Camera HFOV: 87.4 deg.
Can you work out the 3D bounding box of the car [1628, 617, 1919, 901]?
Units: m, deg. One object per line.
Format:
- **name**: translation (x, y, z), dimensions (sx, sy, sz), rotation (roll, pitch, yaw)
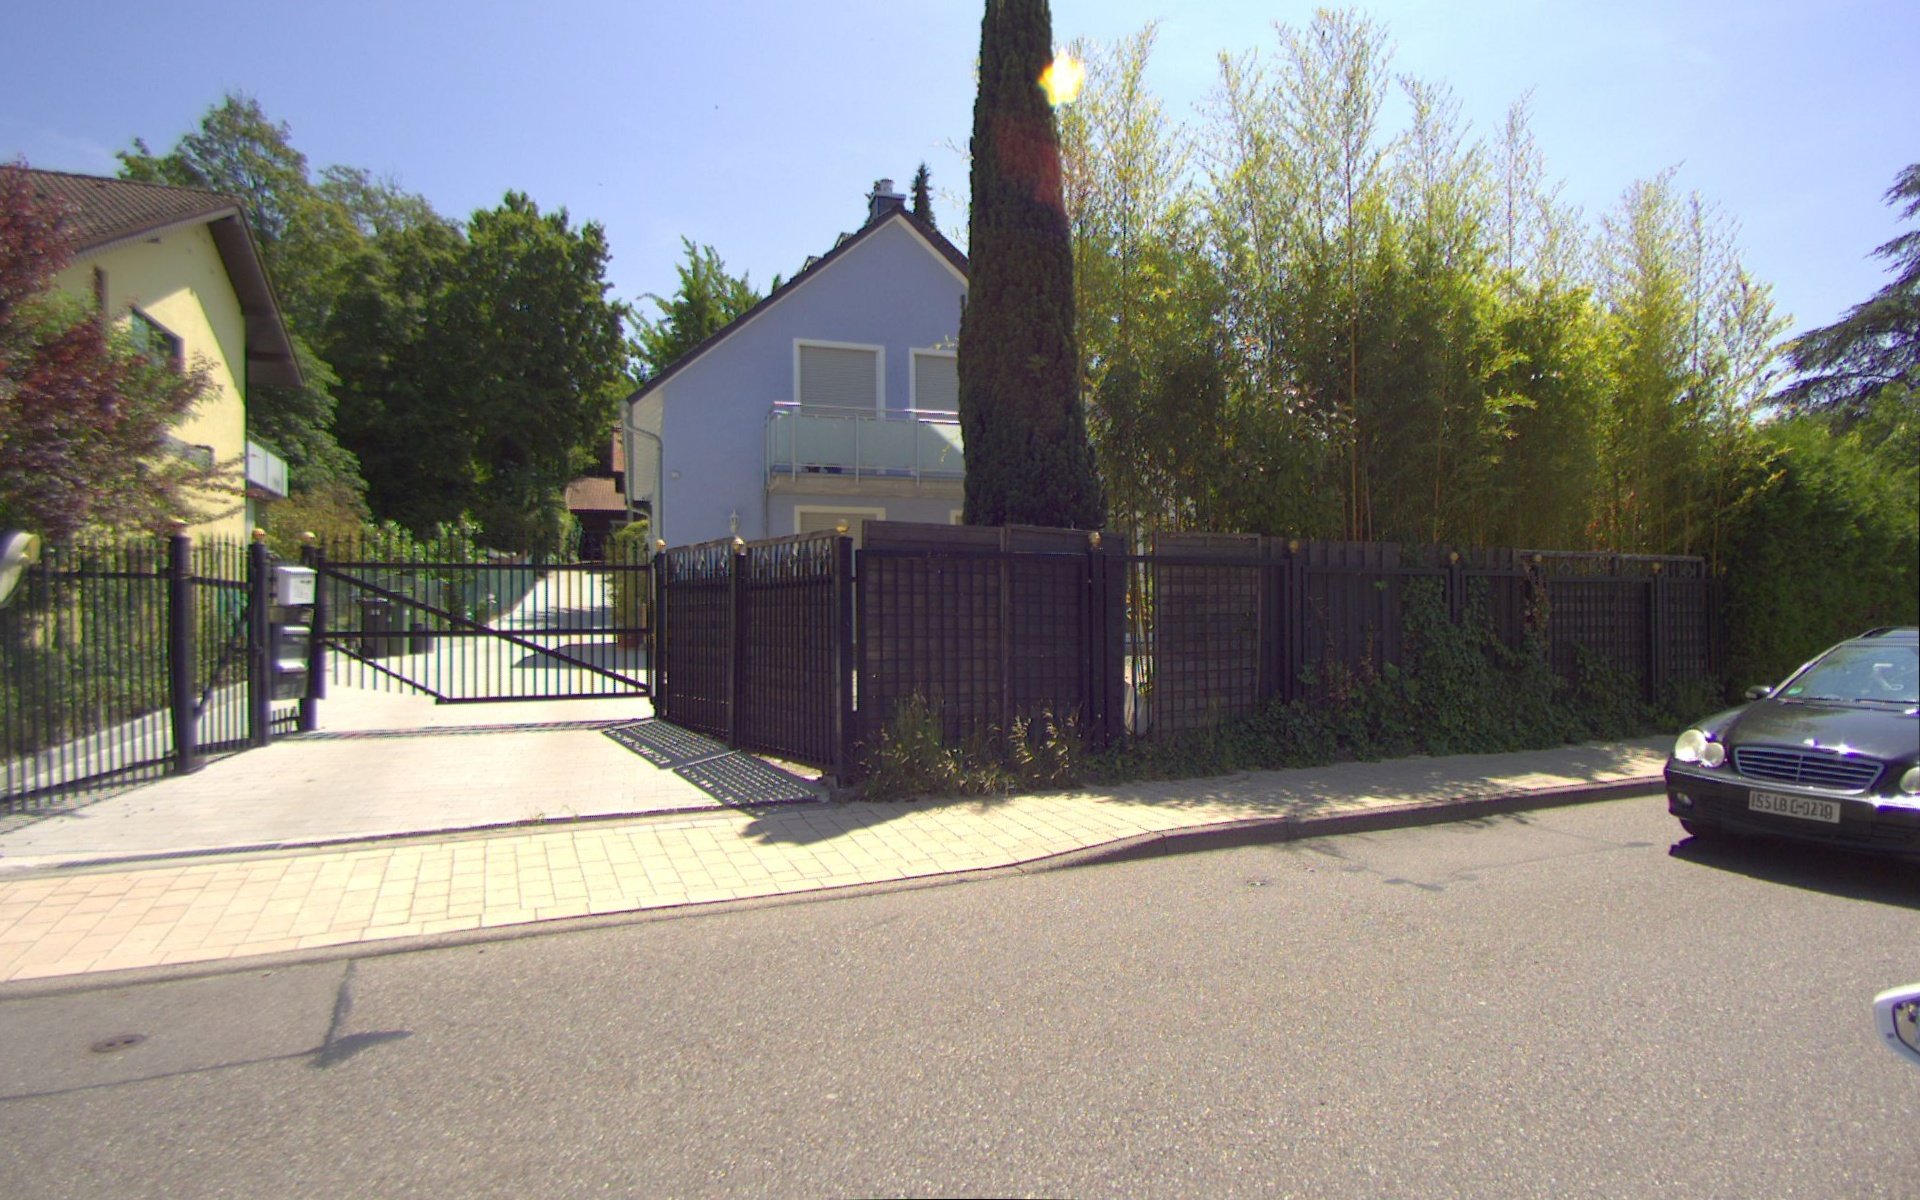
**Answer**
- **car**: translation (6.552, 0.856, 6.642), dimensions (4.193, 1.421, 1.760), rotation (1, 0, -28)
